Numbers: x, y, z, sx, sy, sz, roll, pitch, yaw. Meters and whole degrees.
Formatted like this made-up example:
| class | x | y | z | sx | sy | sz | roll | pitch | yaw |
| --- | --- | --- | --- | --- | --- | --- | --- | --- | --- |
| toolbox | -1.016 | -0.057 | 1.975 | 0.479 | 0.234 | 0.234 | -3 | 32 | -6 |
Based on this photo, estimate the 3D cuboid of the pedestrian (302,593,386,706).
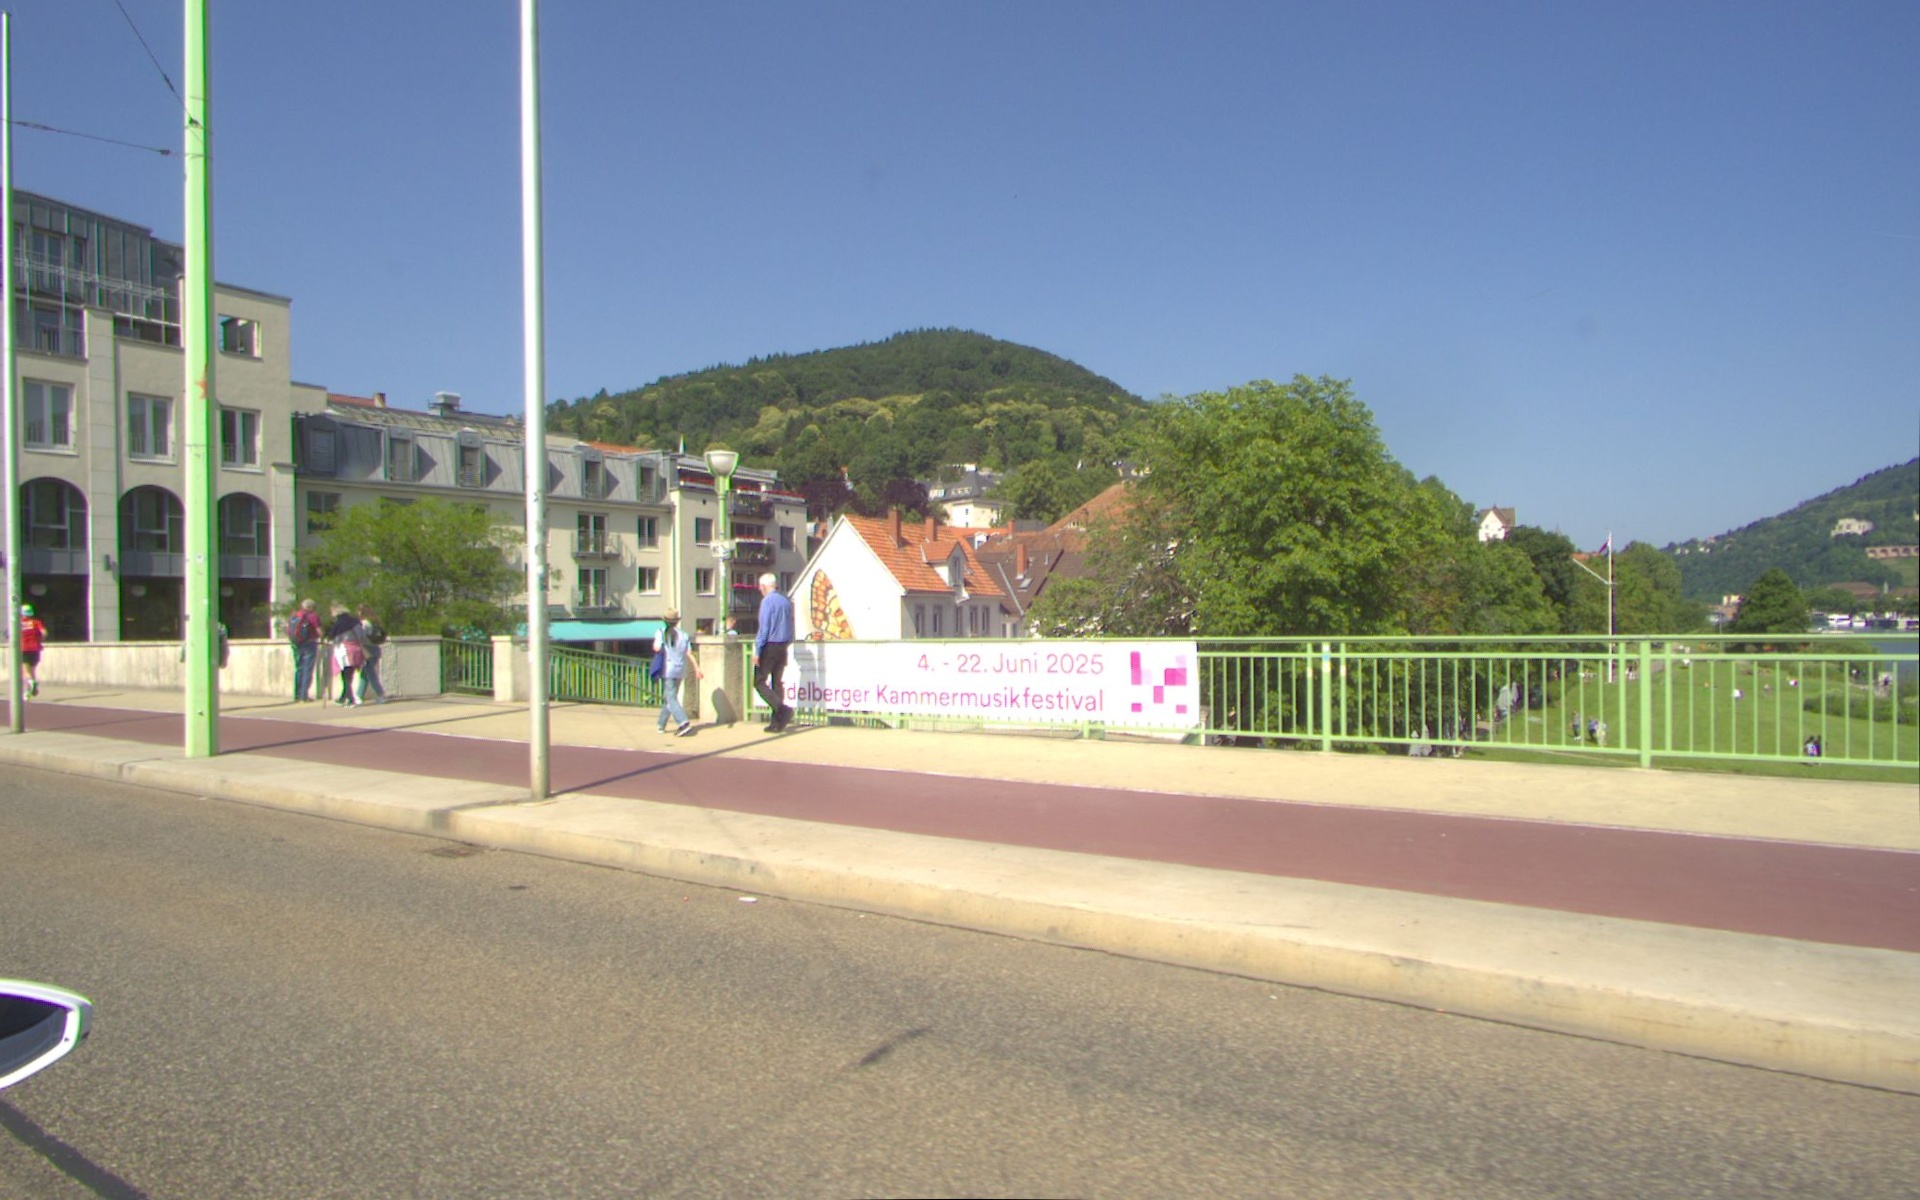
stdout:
| class | x | y | z | sx | sy | sz | roll | pitch | yaw |
| --- | --- | --- | --- | --- | --- | --- | --- | --- | --- |
| pedestrian | -10.166 | 0.800 | 16.520 | 1.000 | 1.801 | 0.738 | -1 | 1 | 30 |

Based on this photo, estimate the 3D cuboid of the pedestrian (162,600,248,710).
| class | x | y | z | sx | sy | sz | roll | pitch | yaw |
| --- | --- | --- | --- | --- | --- | --- | --- | --- | --- |
| pedestrian | -12.482 | 0.891 | 16.565 | 1.058 | 1.741 | 0.753 | -1 | 1 | 32 |

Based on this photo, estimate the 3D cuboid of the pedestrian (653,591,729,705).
| class | x | y | z | sx | sy | sz | roll | pitch | yaw |
| --- | --- | --- | --- | --- | --- | --- | --- | --- | --- |
| pedestrian | -4.244 | 0.745 | 15.883 | 0.728 | 1.741 | 1.015 | -1 | 1 | 12 |

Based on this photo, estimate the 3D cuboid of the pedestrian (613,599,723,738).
| class | x | y | z | sx | sy | sz | roll | pitch | yaw |
| --- | --- | --- | --- | --- | --- | --- | --- | --- | --- |
| pedestrian | -3.453 | 0.781 | 11.853 | 0.922 | 1.550 | 0.825 | -1 | 1 | 39 |

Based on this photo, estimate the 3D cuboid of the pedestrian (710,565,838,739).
| class | x | y | z | sx | sy | sz | roll | pitch | yaw |
| --- | --- | --- | --- | --- | --- | --- | --- | --- | --- |
| pedestrian | -2.175 | 0.582 | 11.754 | 1.121 | 1.923 | 0.924 | -1 | 0 | 32 |

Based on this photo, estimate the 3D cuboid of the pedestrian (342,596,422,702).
| class | x | y | z | sx | sy | sz | roll | pitch | yaw |
| --- | --- | --- | --- | --- | --- | --- | --- | --- | --- |
| pedestrian | -9.983 | 0.833 | 17.300 | 1.000 | 1.770 | 0.738 | -1 | 1 | 28 |

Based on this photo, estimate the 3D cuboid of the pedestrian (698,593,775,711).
| class | x | y | z | sx | sy | sz | roll | pitch | yaw |
| --- | --- | --- | --- | --- | --- | --- | --- | --- | --- |
| pedestrian | -3.436 | 0.781 | 15.429 | 0.728 | 1.741 | 1.014 | -1 | 0 | 17 |

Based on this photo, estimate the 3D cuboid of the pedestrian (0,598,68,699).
| class | x | y | z | sx | sy | sz | roll | pitch | yaw |
| --- | --- | --- | --- | --- | --- | --- | --- | --- | --- |
| pedestrian | -18.715 | 0.958 | 20.163 | 1.111 | 1.950 | 0.809 | -1 | 1 | 32 |

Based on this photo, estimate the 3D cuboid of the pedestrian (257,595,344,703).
| class | x | y | z | sx | sy | sz | roll | pitch | yaw |
| --- | --- | --- | --- | --- | --- | --- | --- | --- | --- |
| pedestrian | -11.666 | 0.847 | 17.724 | 0.730 | 1.826 | 1.011 | -1 | 1 | 30 |

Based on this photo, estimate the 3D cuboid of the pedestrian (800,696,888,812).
| class | x | y | z | sx | sy | sz | roll | pitch | yaw |
| --- | --- | --- | --- | --- | --- | --- | --- | --- | --- |
| pedestrian | -2.023 | 2.667 | 17.584 | 0.966 | 1.801 | 1.201 | -1 | 1 | 31 |
